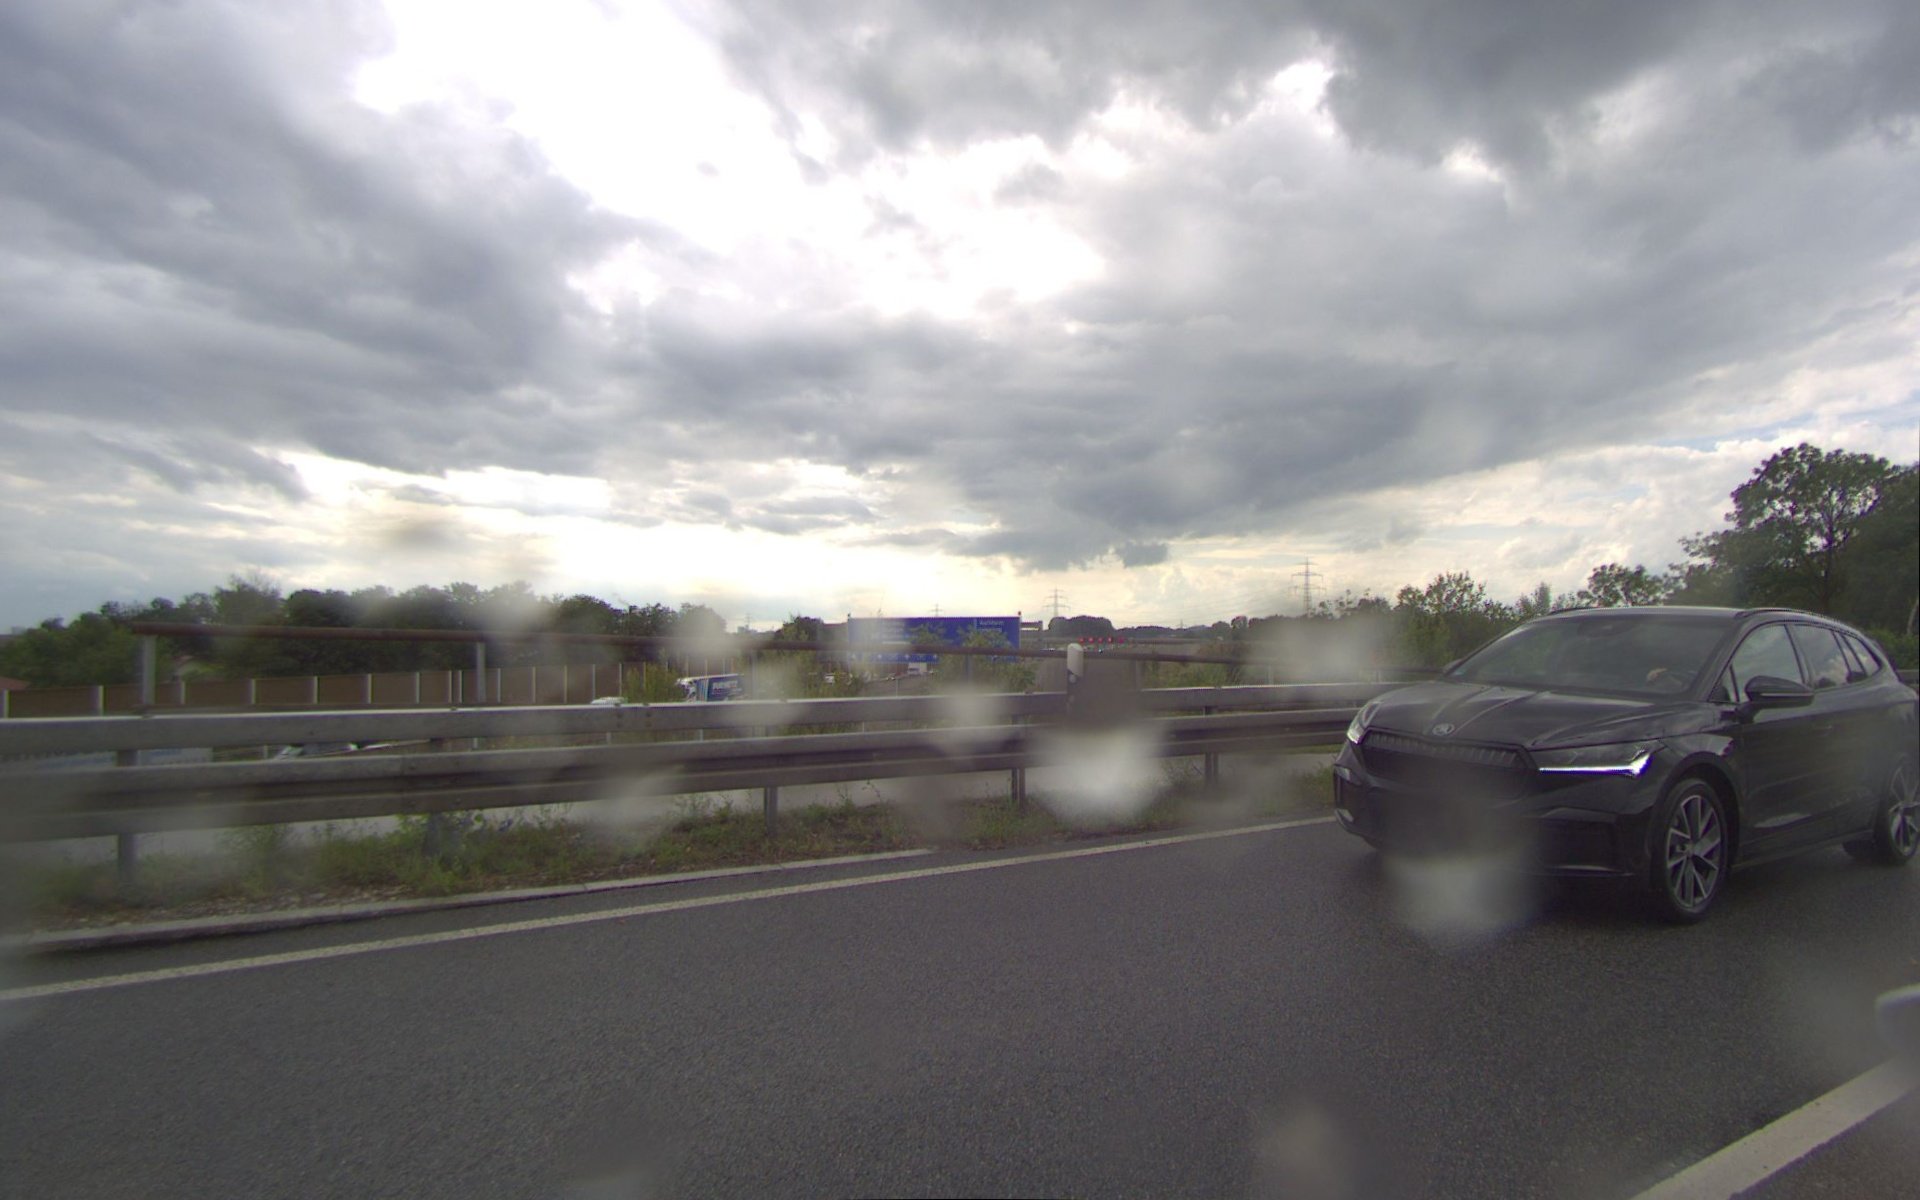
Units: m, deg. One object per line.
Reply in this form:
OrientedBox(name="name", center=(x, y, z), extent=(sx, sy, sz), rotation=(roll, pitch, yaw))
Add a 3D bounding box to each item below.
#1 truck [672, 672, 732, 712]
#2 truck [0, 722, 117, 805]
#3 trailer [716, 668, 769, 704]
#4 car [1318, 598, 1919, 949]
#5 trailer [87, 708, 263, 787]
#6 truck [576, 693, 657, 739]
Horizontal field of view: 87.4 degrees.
OrientedBox(name="truck", center=(-33.759, 11.958, 131.940), extent=(2.388, 4.249, 11.175), rotation=(1, 0, 15))
OrientedBox(name="truck", center=(-53.660, 9.328, 55.667), extent=(2.388, 3.812, 11.175), rotation=(1, 0, 15))
OrientedBox(name="trailer", center=(-30.790, 12.088, 142.672), extent=(2.388, 4.249, 11.175), rotation=(1, 0, 15))
OrientedBox(name="car", center=(4.436, 0.816, 6.389), extent=(4.252, 1.582, 1.771), rotation=(1, 0, -31))
OrientedBox(name="trailer", center=(-50.920, 9.448, 65.608), extent=(2.388, 3.812, 9.462), rotation=(1, 0, 15))
OrientedBox(name="truck", center=(-37.248, 12.477, 109.478), extent=(2.388, 3.812, 11.175), rotation=(1, 0, 15))
